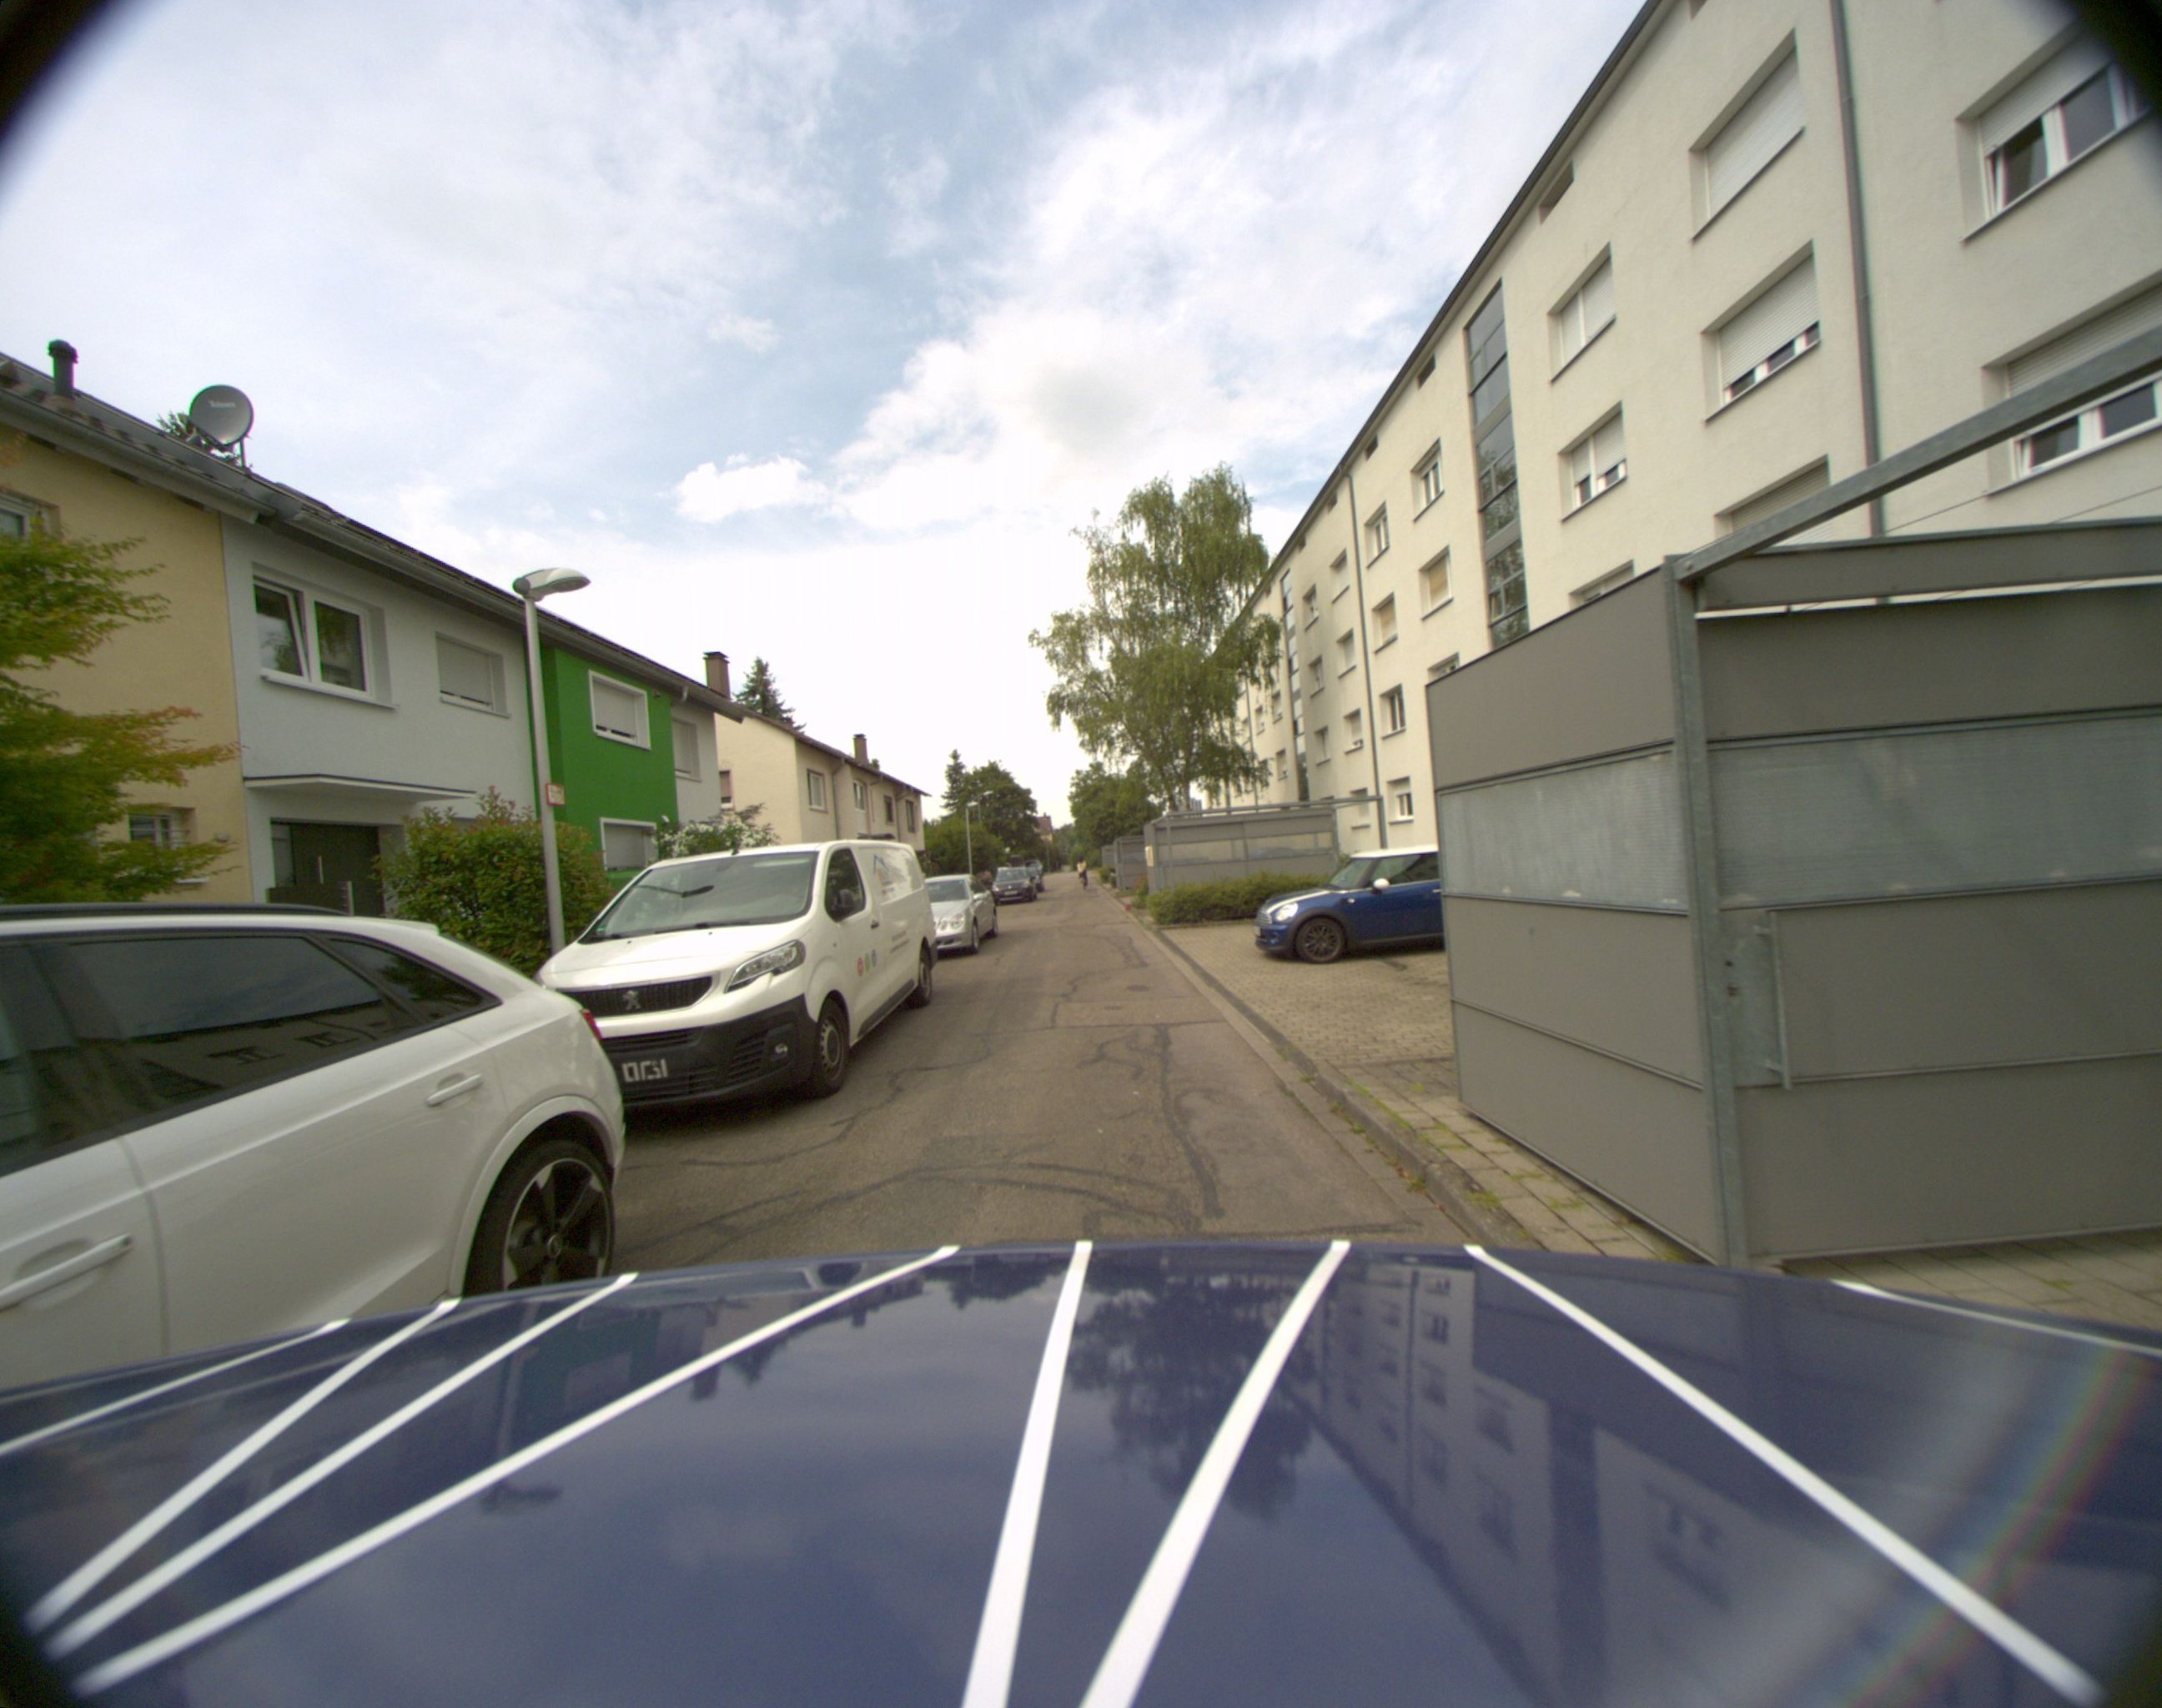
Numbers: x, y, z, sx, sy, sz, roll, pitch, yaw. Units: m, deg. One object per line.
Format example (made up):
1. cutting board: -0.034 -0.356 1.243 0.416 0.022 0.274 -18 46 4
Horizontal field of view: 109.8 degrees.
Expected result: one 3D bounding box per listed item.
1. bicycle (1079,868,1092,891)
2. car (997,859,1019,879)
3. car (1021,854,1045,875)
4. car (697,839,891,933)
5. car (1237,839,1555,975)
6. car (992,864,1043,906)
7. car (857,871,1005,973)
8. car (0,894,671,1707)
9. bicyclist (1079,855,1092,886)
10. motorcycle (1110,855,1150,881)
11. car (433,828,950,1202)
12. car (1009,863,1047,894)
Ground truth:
1. bicycle: 0.264 1.316 39.844 0.599 1.070 2.042 -3 0 1
2. car: -6.575 1.316 68.478 1.705 1.458 3.998 -4 2 -3
3. car: -4.245 0.925 67.854 1.926 1.576 3.999 -6 0 -3
4. car: -8.877 0.955 23.911 5.100 2.527 2.238 -3 0 0
5. car: 4.170 0.681 10.519 3.643 1.453 1.653 -5 0 3
6. car: -2.624 1.263 32.153 1.834 1.449 4.189 -5 0 -2
7. car: -2.722 1.194 14.919 1.788 1.412 4.455 -6 0 1
8. car: -2.548 1.055 0.946 1.830 1.626 4.161 -6 0 -3
9. bicyclist: 0.240 0.848 39.771 0.599 1.571 0.767 -3 1 1
10. motorcycle: 2.991 0.849 46.614 2.383 1.455 0.714 -2 1 -1
11. car: -2.673 0.922 6.976 1.908 1.953 5.253 -6 0 -1
12. car: -2.916 1.311 42.256 1.834 1.449 4.189 -5 0 -2
